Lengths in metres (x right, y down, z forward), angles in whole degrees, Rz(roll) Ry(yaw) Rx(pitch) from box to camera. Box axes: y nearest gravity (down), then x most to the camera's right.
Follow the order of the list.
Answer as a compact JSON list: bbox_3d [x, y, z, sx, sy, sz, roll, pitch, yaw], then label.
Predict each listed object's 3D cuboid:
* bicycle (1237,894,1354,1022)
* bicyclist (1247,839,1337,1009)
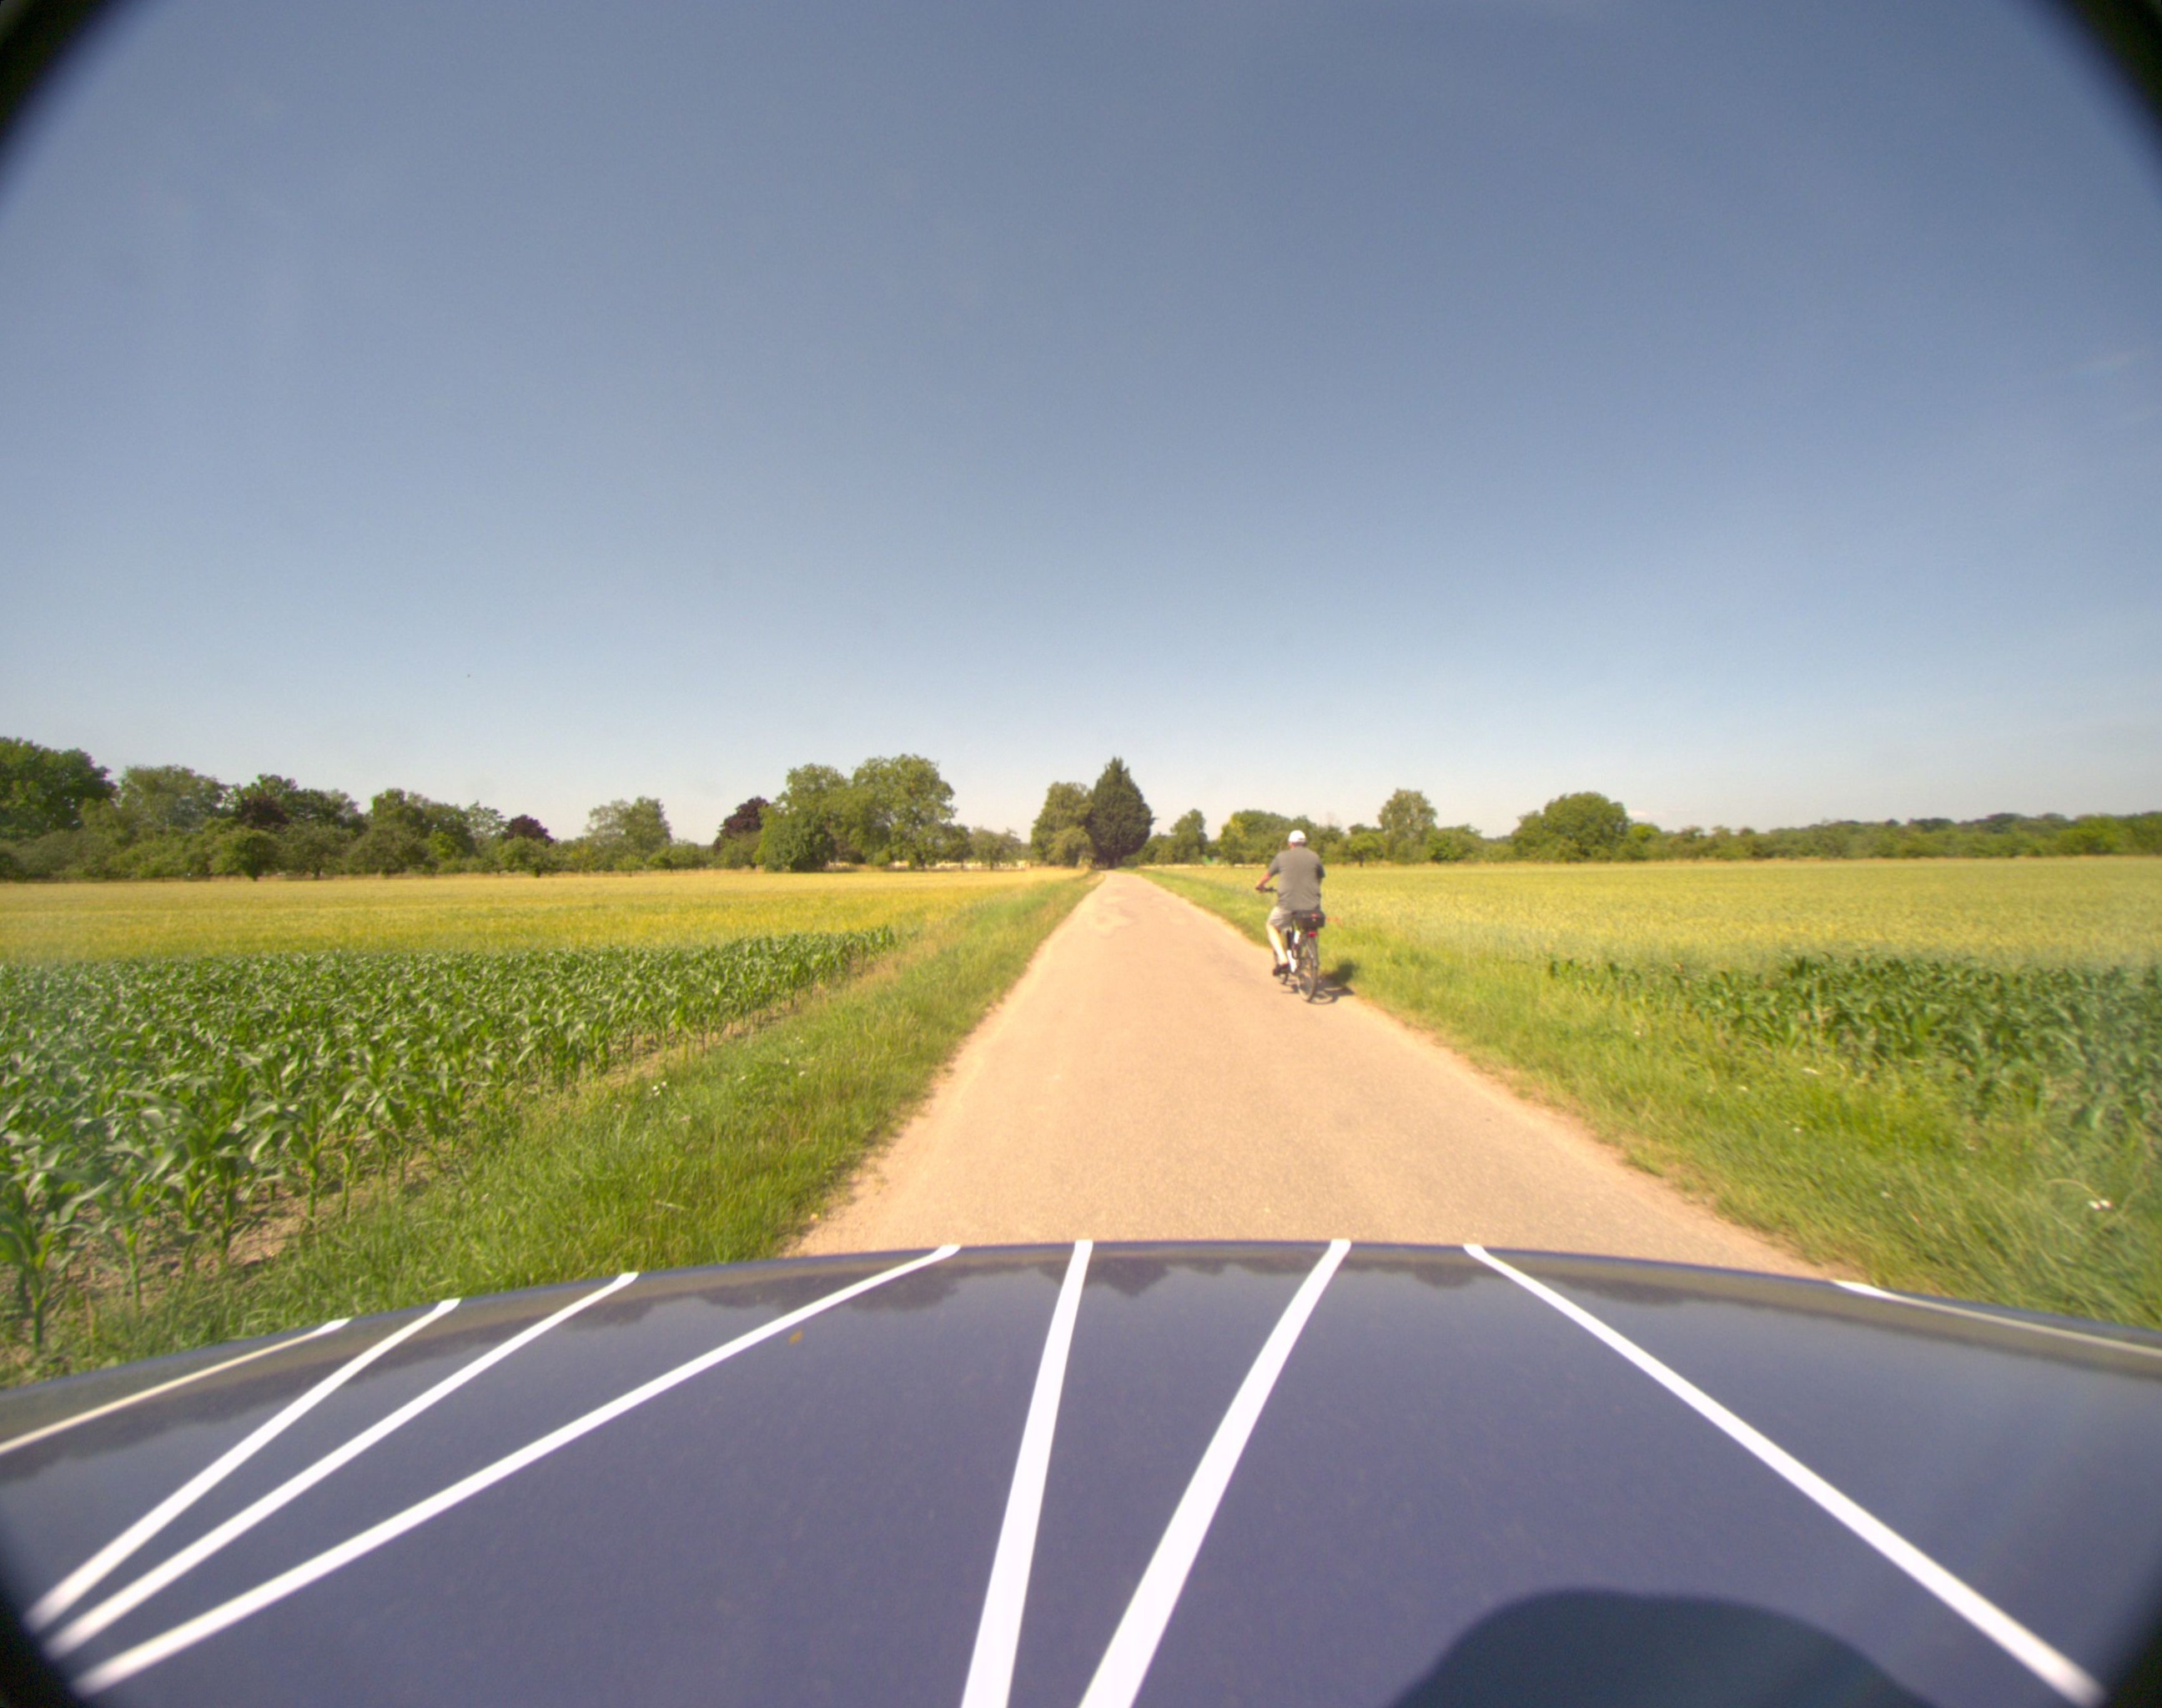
[{"bbox_3d":[2.296,1.068,8.390,0.752,1.121,1.908,1,1,1],"label":"bicycle"},{"bbox_3d":[2.296,0.735,8.337,0.752,1.781,0.717,1,1,1],"label":"bicyclist"}]
